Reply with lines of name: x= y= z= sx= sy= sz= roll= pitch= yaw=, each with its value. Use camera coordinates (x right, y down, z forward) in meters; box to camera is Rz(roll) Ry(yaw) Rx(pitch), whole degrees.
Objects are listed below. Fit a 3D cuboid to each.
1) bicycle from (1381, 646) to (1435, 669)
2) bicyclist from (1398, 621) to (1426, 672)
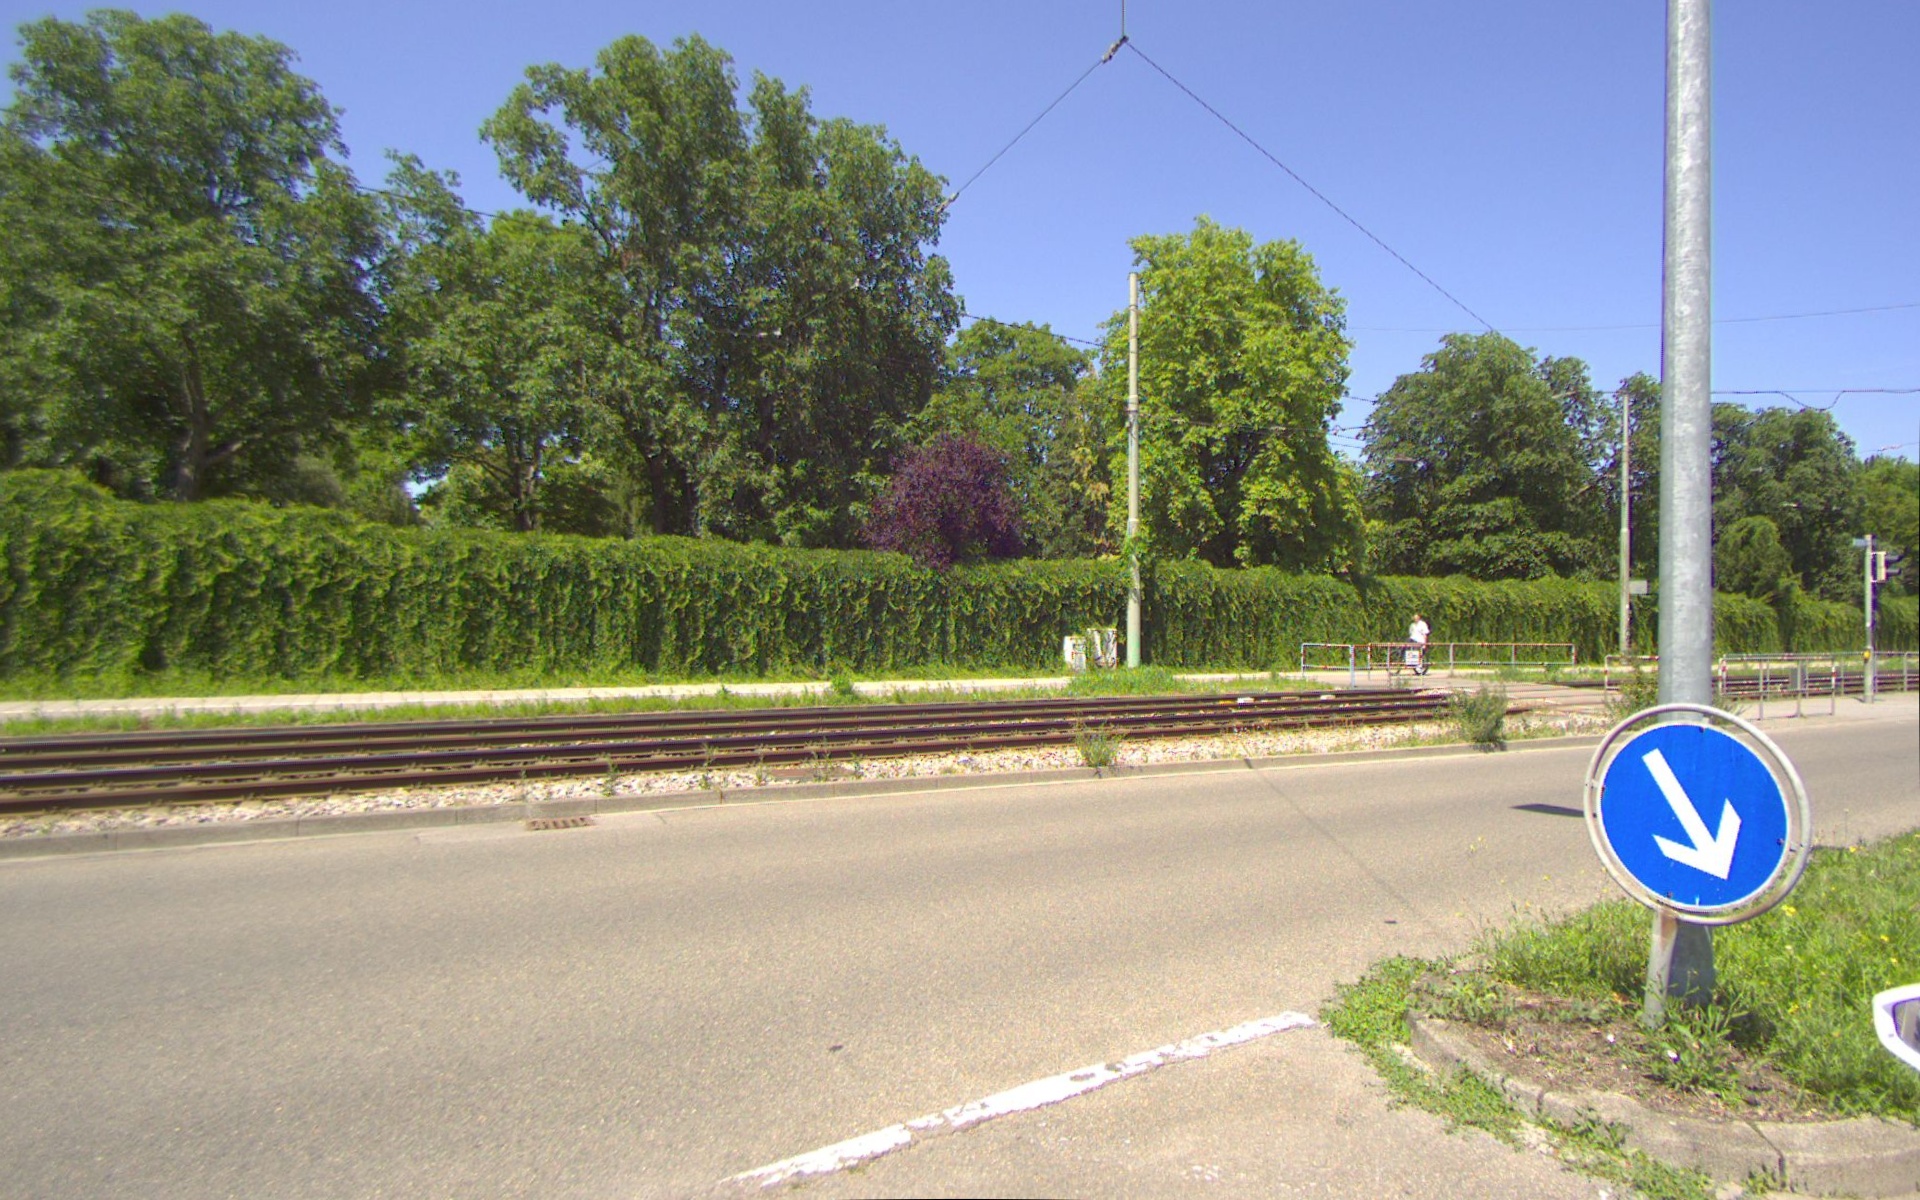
bicycle: x=13.324 y=1.704 z=29.853 sx=1.699 sy=0.656 sz=0.558 roll=1 pitch=-1 yaw=-29
bicyclist: x=13.475 y=1.366 z=29.946 sx=0.554 sy=1.497 sz=0.555 roll=1 pitch=-1 yaw=-29
